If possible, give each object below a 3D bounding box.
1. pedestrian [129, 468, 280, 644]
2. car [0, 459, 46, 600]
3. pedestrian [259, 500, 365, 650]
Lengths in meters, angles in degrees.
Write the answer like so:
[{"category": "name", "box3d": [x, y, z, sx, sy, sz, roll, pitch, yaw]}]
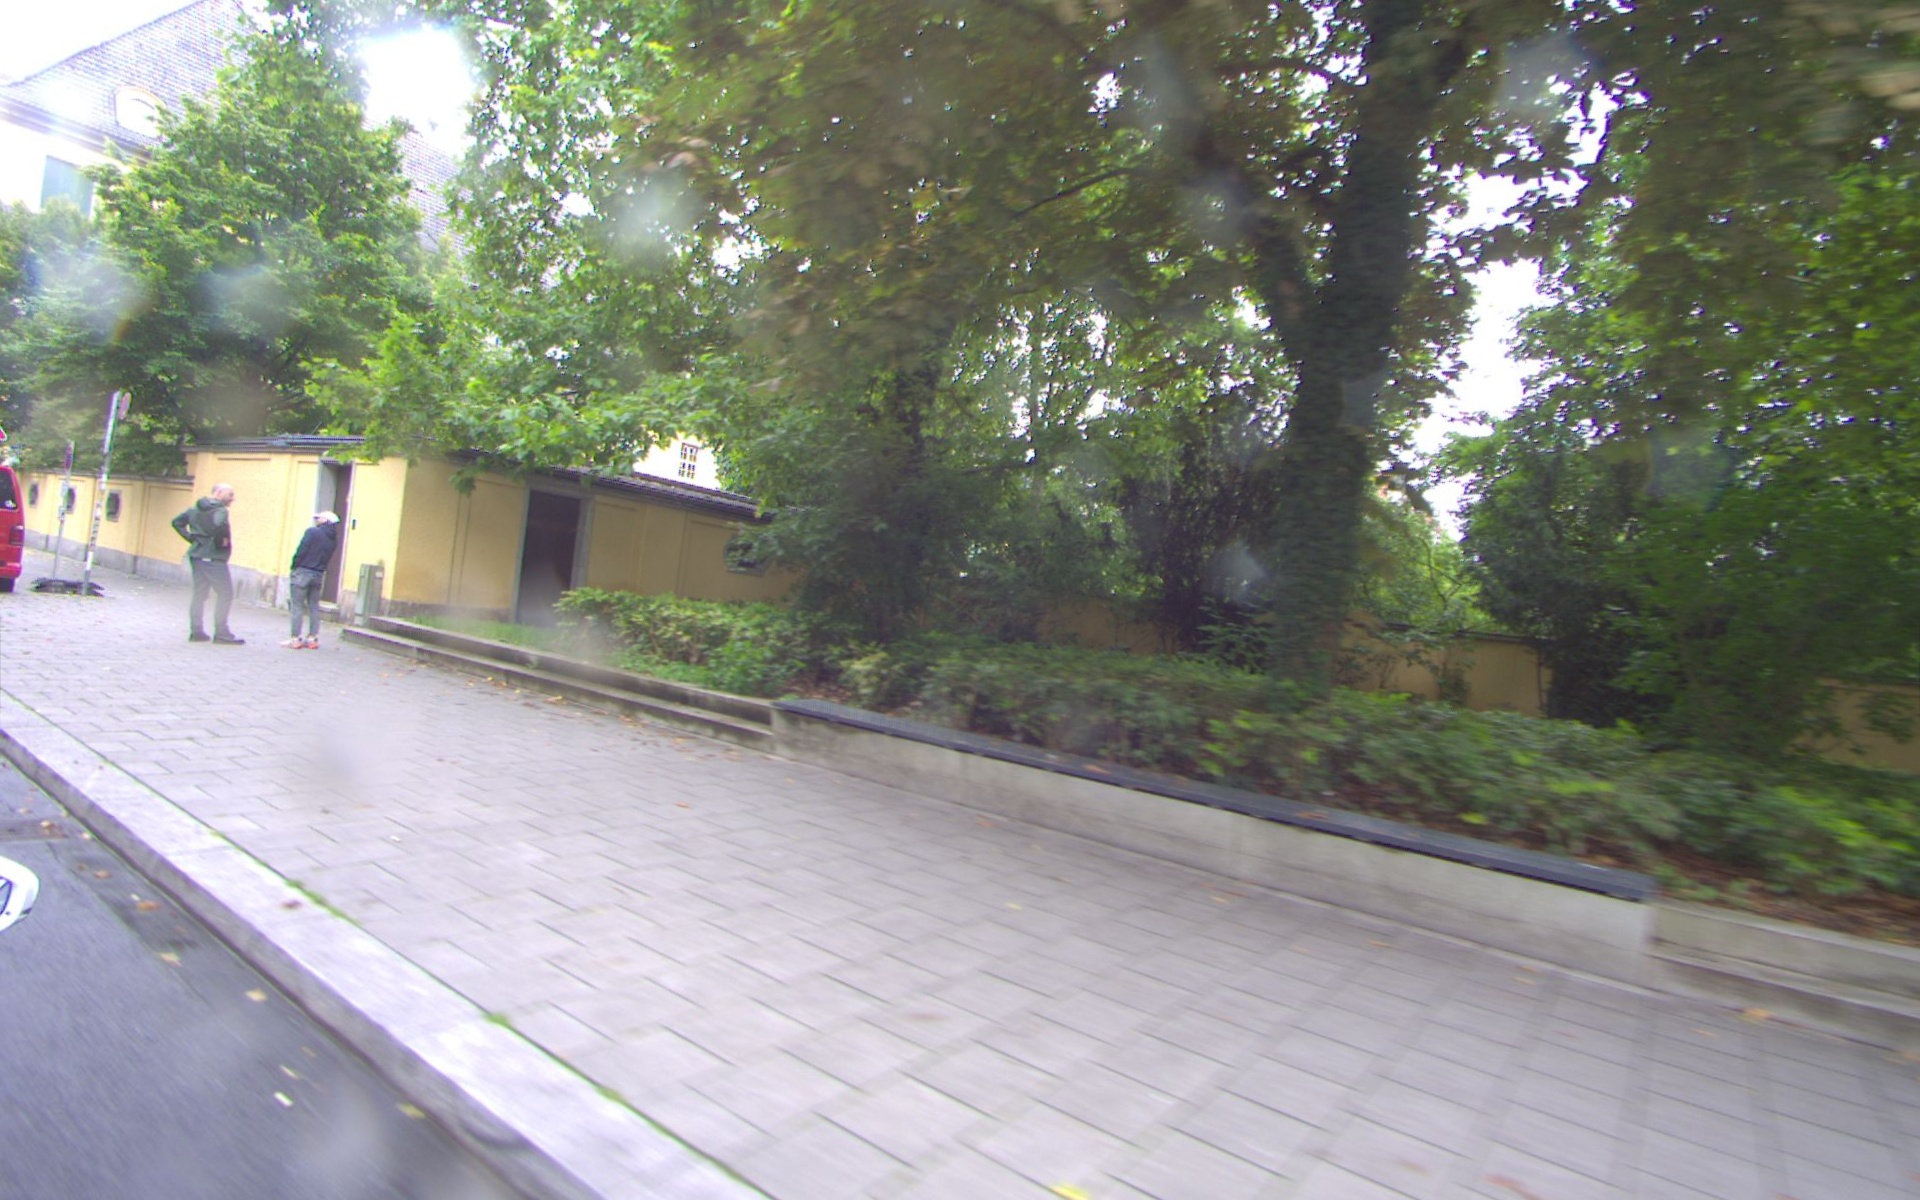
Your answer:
[{"category": "pedestrian", "box3d": [-8.681, -0.482, 11.589, 0.934, 1.859, 0.823, 7, 0, 10]}, {"category": "car", "box3d": [-15.893, -1.279, 15.218, 4.891, 1.960, 1.912, 6, -1, 35]}, {"category": "pedestrian", "box3d": [-7.746, -0.281, 12.044, 0.684, 1.688, 0.635, 7, 1, 15]}]
